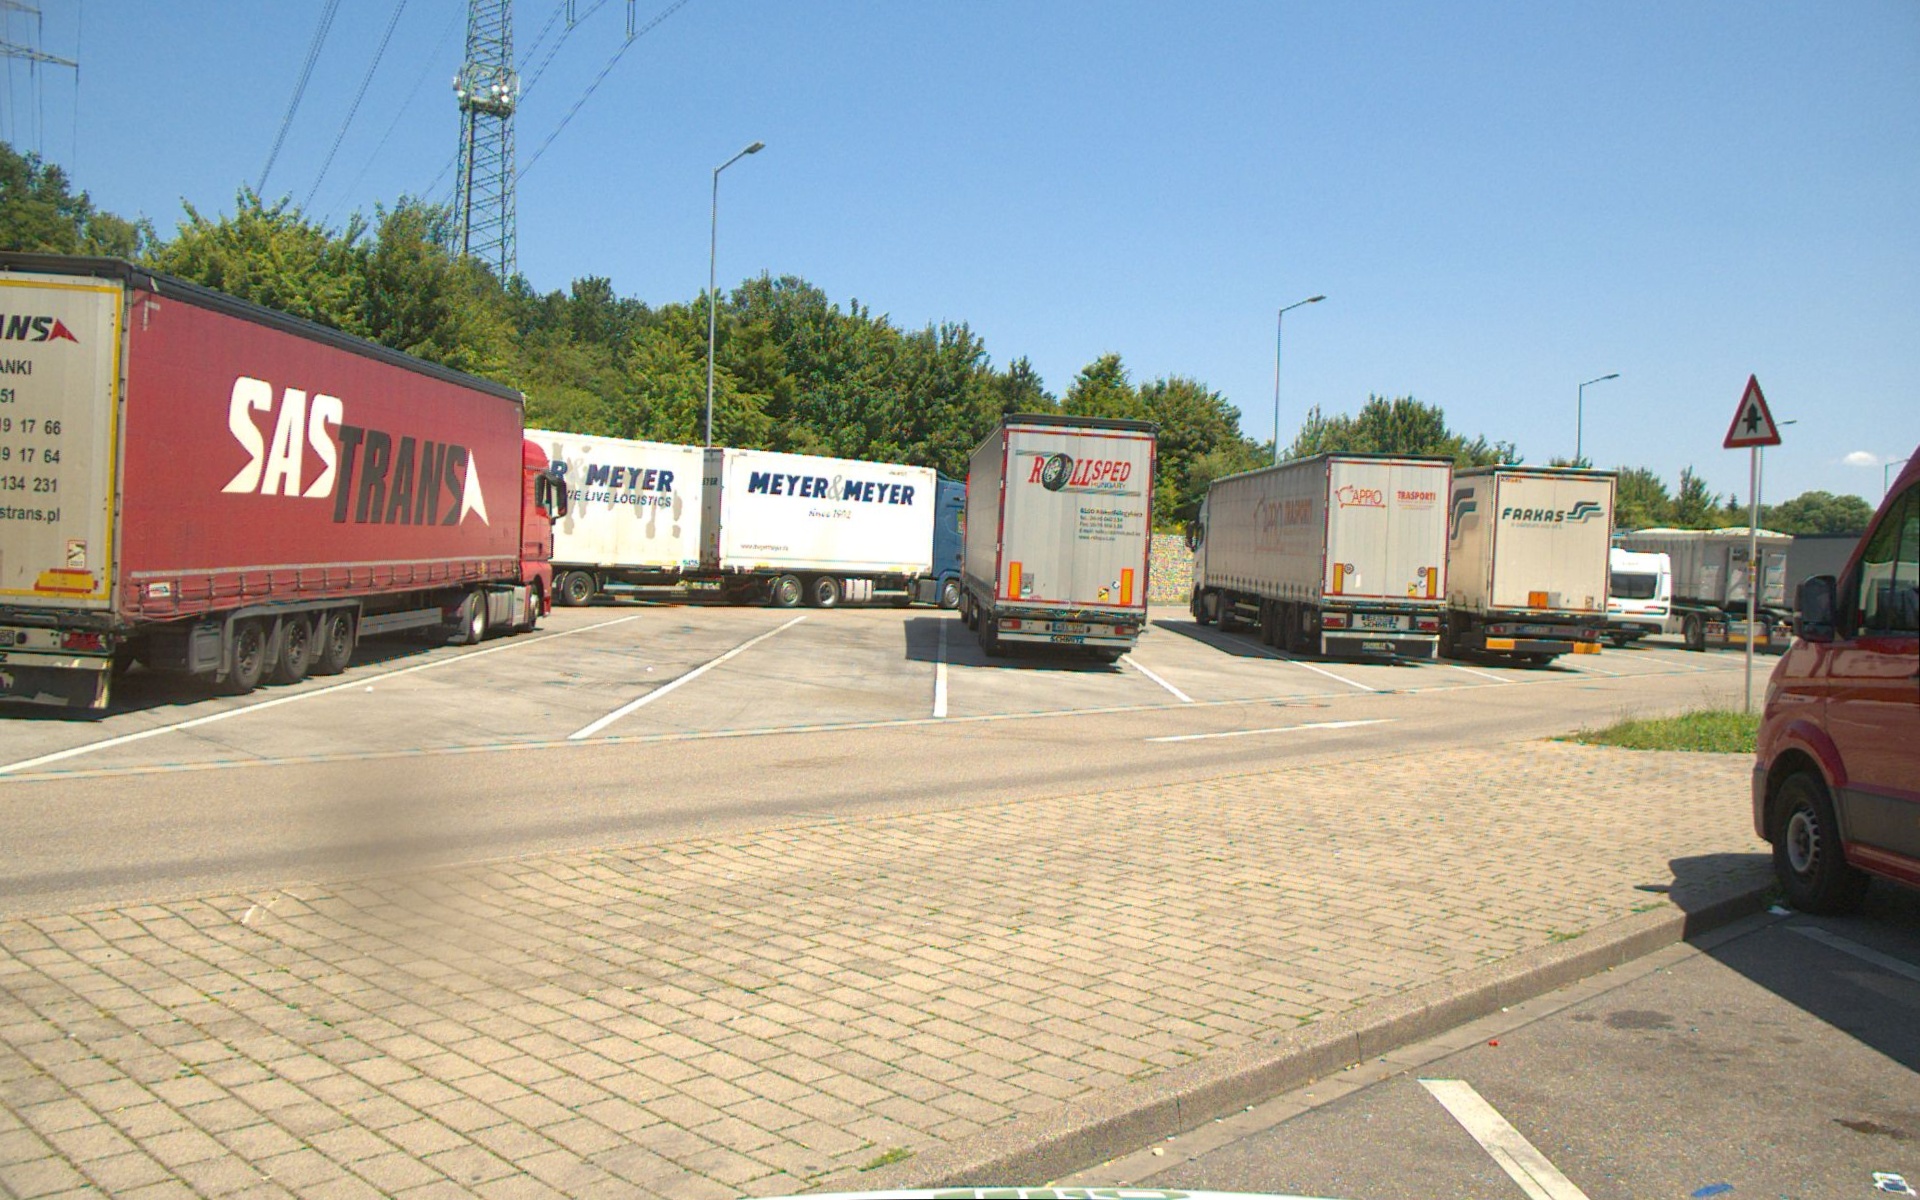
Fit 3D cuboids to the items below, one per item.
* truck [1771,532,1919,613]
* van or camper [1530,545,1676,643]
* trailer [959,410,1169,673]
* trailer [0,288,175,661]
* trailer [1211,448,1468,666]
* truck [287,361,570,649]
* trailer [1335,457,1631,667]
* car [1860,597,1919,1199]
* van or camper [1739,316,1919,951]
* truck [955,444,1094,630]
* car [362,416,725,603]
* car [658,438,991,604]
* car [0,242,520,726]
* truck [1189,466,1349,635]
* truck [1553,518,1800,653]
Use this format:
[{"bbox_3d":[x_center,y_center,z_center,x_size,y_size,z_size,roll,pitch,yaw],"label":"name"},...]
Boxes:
[{"bbox_3d":[34.717,-1.060,63.614,2.082,2.869,9.777,1,1,-1],"label":"truck"},{"bbox_3d":[18.281,-0.217,47.327,2.061,2.606,5.372,1,1,0],"label":"van or camper"},{"bbox_3d":[1.666,-1.237,33.651,2.809,4.107,14.238,2,2,-2],"label":"trailer"},{"bbox_3d":[-12.536,-1.406,17.144,2.756,4.341,12.940,2,2,-1],"label":"trailer"},{"bbox_3d":[8.258,-1.086,38.085,2.808,4.107,12.438,2,2,-1],"label":"trailer"},{"bbox_3d":[-8.686,-1.528,27.860,2.641,4.184,6.239,2,2,0],"label":"truck"},{"bbox_3d":[11.835,-1.019,39.202,2.808,4.107,12.438,2,2,-1],"label":"trailer"},{"bbox_3d":[2.548,0.799,1.093,1.584,1.509,3.762,1,1,-6],"label":"car"},{"bbox_3d":[4.984,0.177,5.541,1.954,2.700,6.482,1,1,3],"label":"van or camper"},{"bbox_3d":[1.436,-1.564,40.731,2.809,4.107,7.026,2,2,-2],"label":"truck"},{"bbox_3d":[-9.918,-2.067,40.309,2.643,4.114,8.413,5,3,43],"label":"car"},{"bbox_3d":[-3.593,-2.111,47.108,2.644,4.261,10.146,5,3,44],"label":"car"},{"bbox_3d":[-8.666,-1.280,20.943,2.641,4.184,12.935,2,2,0],"label":"car"},{"bbox_3d":[8.180,-1.382,44.716,2.808,4.107,6.956,2,2,-1],"label":"truck"},{"bbox_3d":[21.762,-0.643,51.223,2.437,3.630,11.423,2,2,-1],"label":"truck"}]
